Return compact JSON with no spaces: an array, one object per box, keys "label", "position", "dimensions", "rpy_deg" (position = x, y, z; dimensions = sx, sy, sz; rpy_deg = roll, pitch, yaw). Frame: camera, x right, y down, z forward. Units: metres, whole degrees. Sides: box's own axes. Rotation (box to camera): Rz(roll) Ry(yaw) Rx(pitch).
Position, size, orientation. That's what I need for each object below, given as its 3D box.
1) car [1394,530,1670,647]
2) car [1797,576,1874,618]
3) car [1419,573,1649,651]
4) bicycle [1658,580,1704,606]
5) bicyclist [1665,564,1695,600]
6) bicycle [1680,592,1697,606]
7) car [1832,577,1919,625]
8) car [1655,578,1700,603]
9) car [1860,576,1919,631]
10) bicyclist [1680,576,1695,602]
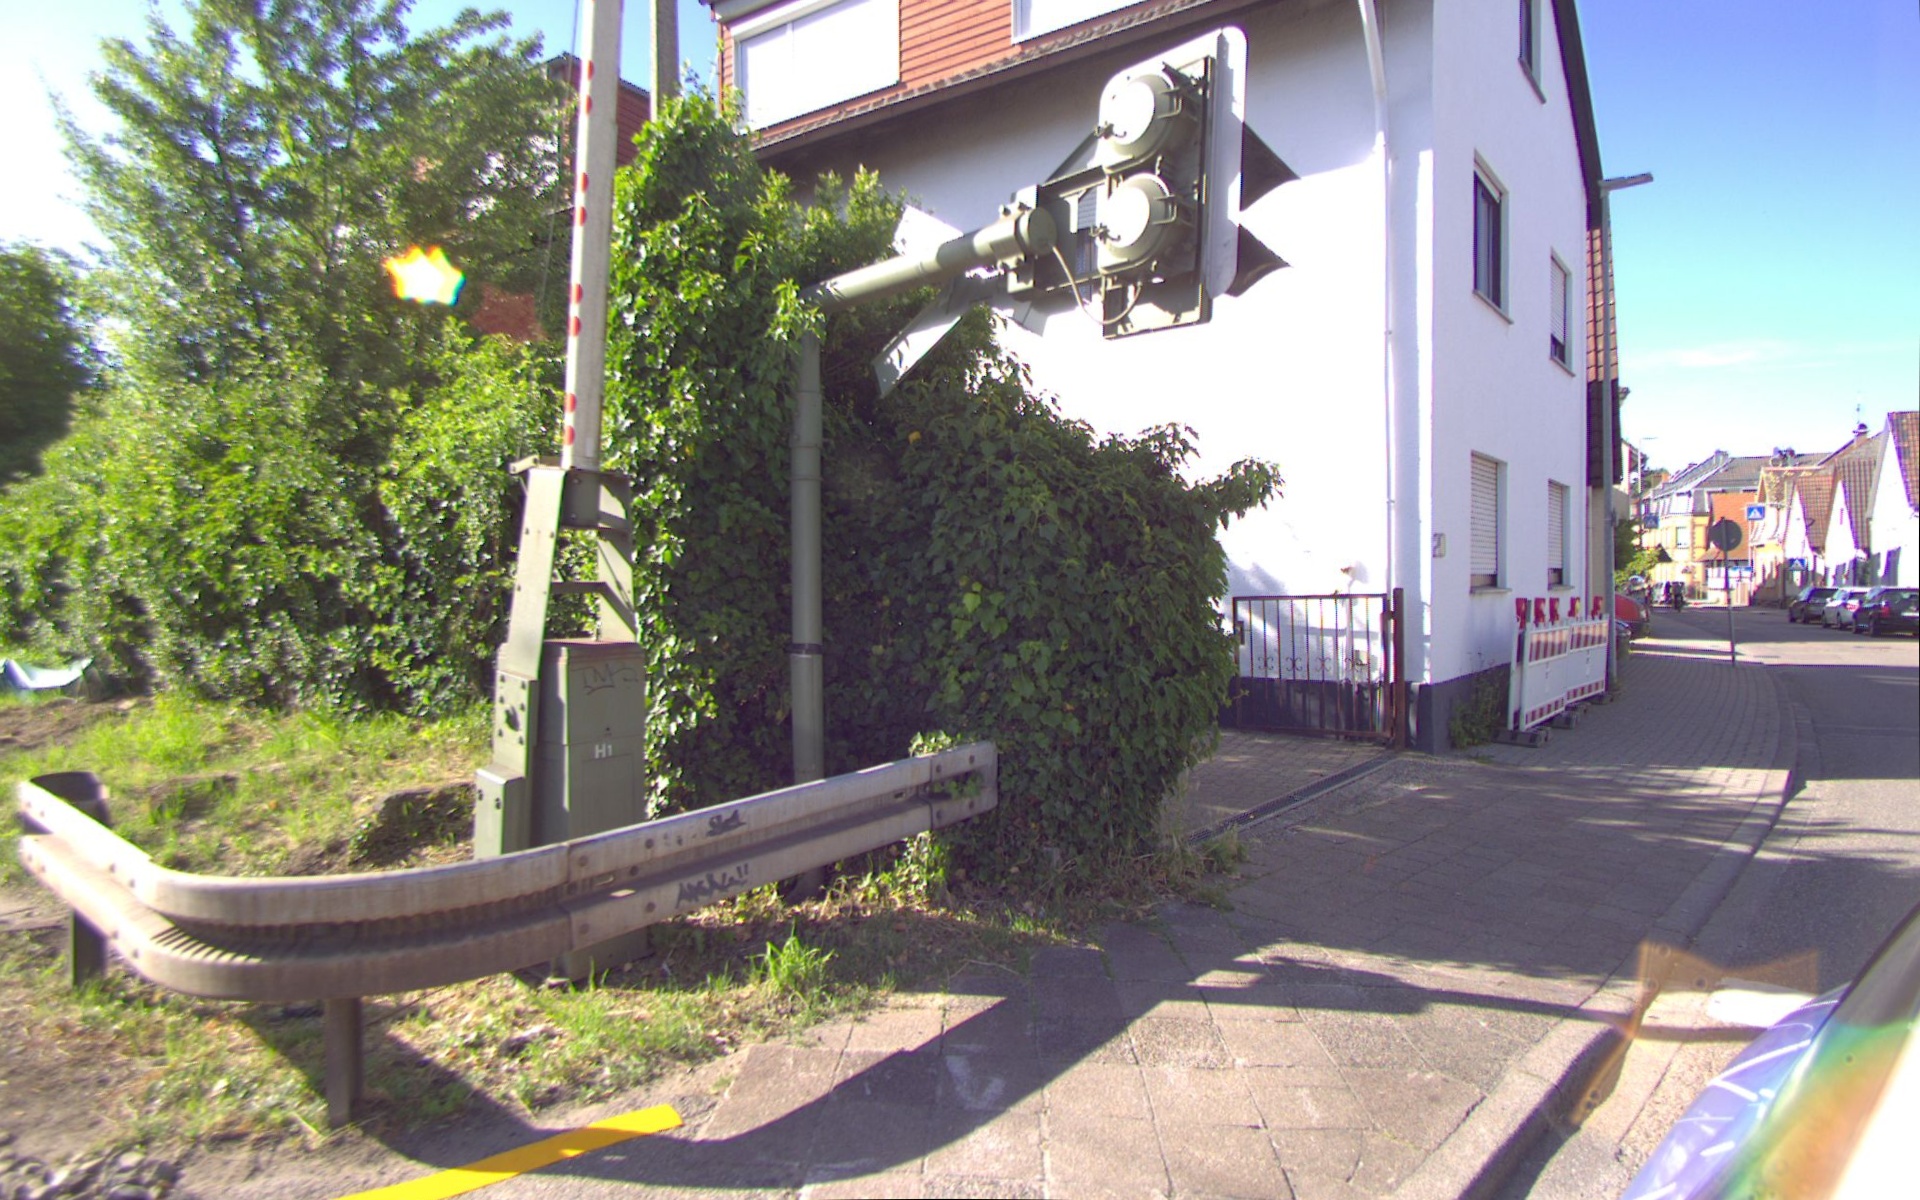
[{"label":"car","position":[14.164,-0.395,25.431],"dimensions":[5.774,2.687,1.948],"rpy_deg":[2,3,30]},{"label":"car","position":[36.757,-0.156,42.586],"dimensions":[1.733,1.634,3.958],"rpy_deg":[0,2,30]},{"label":"car","position":[12.921,0.204,22.969],"dimensions":[4.355,1.505,1.819],"rpy_deg":[2,3,32]},{"label":"bicycle","position":[48.773,-0.485,68.515],"dimensions":[1.241,1.571,3.978],"rpy_deg":[-3,0,17]},{"label":"bicyclist","position":[48.749,-1.202,68.544],"dimensions":[1.240,2.337,1.236],"rpy_deg":[-3,0,17]},{"label":"bicycle","position":[43.773,-0.072,60.826],"dimensions":[0.619,0.789,1.892],"rpy_deg":[-3,0,31]},{"label":"car","position":[33.268,-0.019,36.806],"dimensions":[1.809,1.586,4.120],"rpy_deg":[0,2,33]},{"label":"car","position":[57.226,-0.777,80.846],"dimensions":[1.860,1.904,4.800],"rpy_deg":[1,2,22]},{"label":"car","position":[30.345,0.062,32.280],"dimensions":[1.776,1.624,4.310],"rpy_deg":[0,2,33]},{"label":"bicyclist","position":[43.772,-0.658,60.877],"dimensions":[0.605,1.552,0.648],"rpy_deg":[-3,0,32]}]
